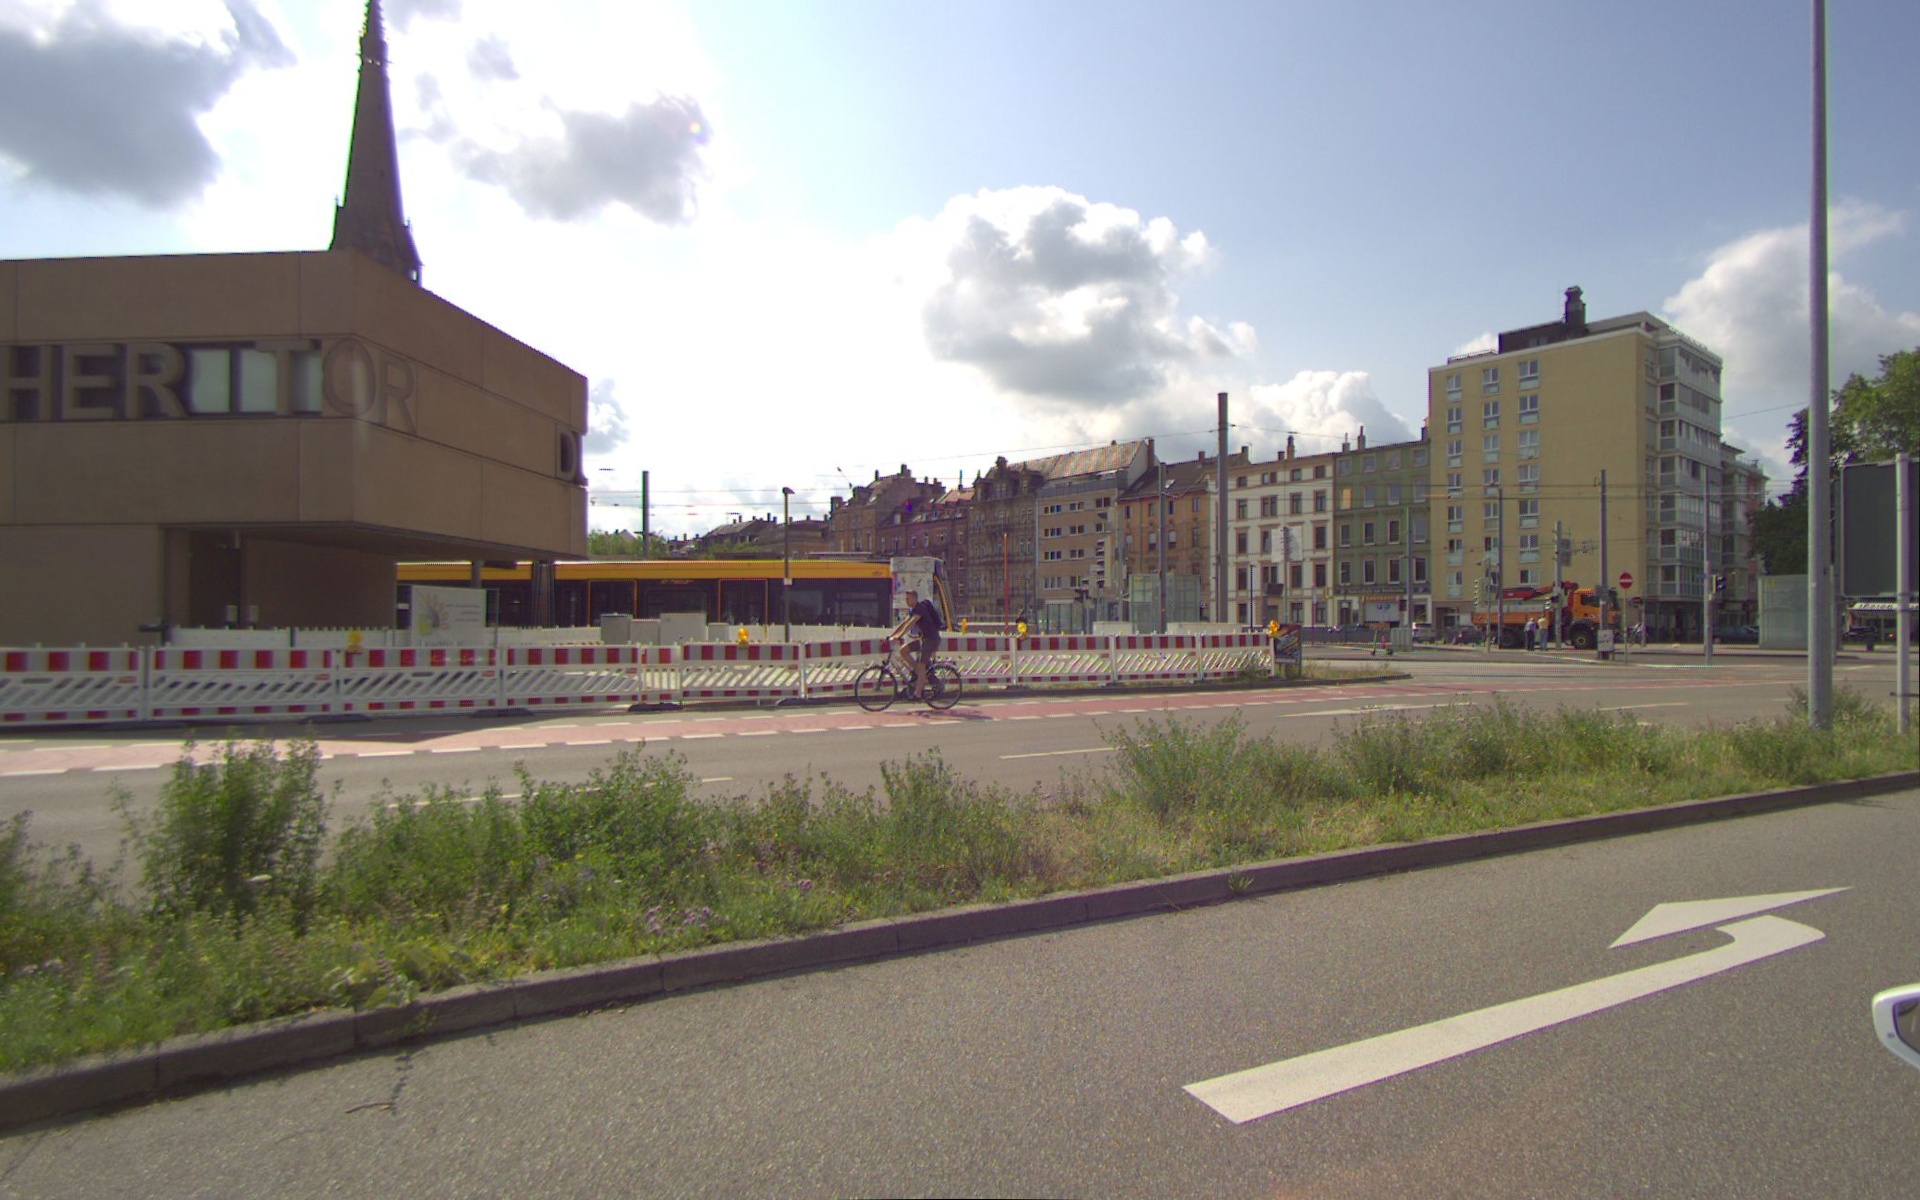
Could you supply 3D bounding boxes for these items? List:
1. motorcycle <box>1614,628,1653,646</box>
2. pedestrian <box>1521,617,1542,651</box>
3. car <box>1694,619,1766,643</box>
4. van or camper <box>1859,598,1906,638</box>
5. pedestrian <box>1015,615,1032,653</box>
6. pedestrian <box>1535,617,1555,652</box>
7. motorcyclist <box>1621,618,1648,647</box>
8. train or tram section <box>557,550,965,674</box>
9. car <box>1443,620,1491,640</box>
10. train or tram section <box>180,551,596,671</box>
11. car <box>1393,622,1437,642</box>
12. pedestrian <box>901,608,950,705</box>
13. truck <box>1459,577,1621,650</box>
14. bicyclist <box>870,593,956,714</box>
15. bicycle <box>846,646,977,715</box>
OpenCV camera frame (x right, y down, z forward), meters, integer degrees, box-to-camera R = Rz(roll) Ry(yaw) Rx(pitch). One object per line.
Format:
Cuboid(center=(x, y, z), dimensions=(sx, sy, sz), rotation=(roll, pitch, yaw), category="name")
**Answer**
Cuboid(center=(43.018, 2.355, 64.158), dimensions=(2.398, 1.130, 0.780), rotation=(1, -1, -20), category="motorcycle")
Cuboid(center=(31.926, 1.898, 56.134), dimensions=(0.808, 1.884, 0.697), rotation=(0, -1, -24), category="pedestrian")
Cuboid(center=(56.155, 2.253, 73.278), dimensions=(1.986, 1.684, 3.948), rotation=(1, -1, -44), category="car")
Cuboid(center=(71.131, 1.378, 77.464), dimensions=(2.554, 2.947, 6.064), rotation=(-1, -1, 43), category="van or camper")
Cuboid(center=(3.095, 1.672, 49.221), dimensions=(0.788, 1.820, 0.965), rotation=(0, -1, 2), category="pedestrian")
Cuboid(center=(32.282, 1.900, 55.436), dimensions=(0.770, 1.893, 0.649), rotation=(0, -1, -24), category="pedestrian")
Cuboid(center=(43.111, 2.080, 64.194), dimensions=(1.223, 1.805, 0.886), rotation=(0, -1, -20), category="motorcyclist")
Cuboid(center=(-6.007, 0.376, 31.224), dimensions=(12.163, 3.619, 2.670), rotation=(0, -1, 5), category="train or tram section")
Cuboid(center=(37.120, 2.184, 73.597), dimensions=(1.833, 1.455, 4.008), rotation=(0, -1, 6), category="car")
Cuboid(center=(-18.157, 0.354, 32.216), dimensions=(12.163, 3.611, 2.631), rotation=(0, -1, 4), category="train or tram section")
Cuboid(center=(34.642, 2.420, 76.531), dimensions=(1.664, 1.520, 3.677), rotation=(0, -1, 0), category="car")
Cuboid(center=(-0.628, 0.994, 18.053), dimensions=(0.633, 1.703, 0.733), rotation=(1, -1, -28), category="pedestrian")
Cuboid(center=(33.345, 0.812, 58.038), dimensions=(2.186, 3.907, 7.835), rotation=(1, -2, -44), category="truck")
Cuboid(center=(-0.744, 0.826, 15.871), dimensions=(1.143, 1.847, 0.808), rotation=(1, -1, -25), category="bicyclist")
Cuboid(center=(-0.757, 1.245, 15.835), dimensions=(1.991, 1.015, 0.614), rotation=(1, -1, -25), category="bicycle")
